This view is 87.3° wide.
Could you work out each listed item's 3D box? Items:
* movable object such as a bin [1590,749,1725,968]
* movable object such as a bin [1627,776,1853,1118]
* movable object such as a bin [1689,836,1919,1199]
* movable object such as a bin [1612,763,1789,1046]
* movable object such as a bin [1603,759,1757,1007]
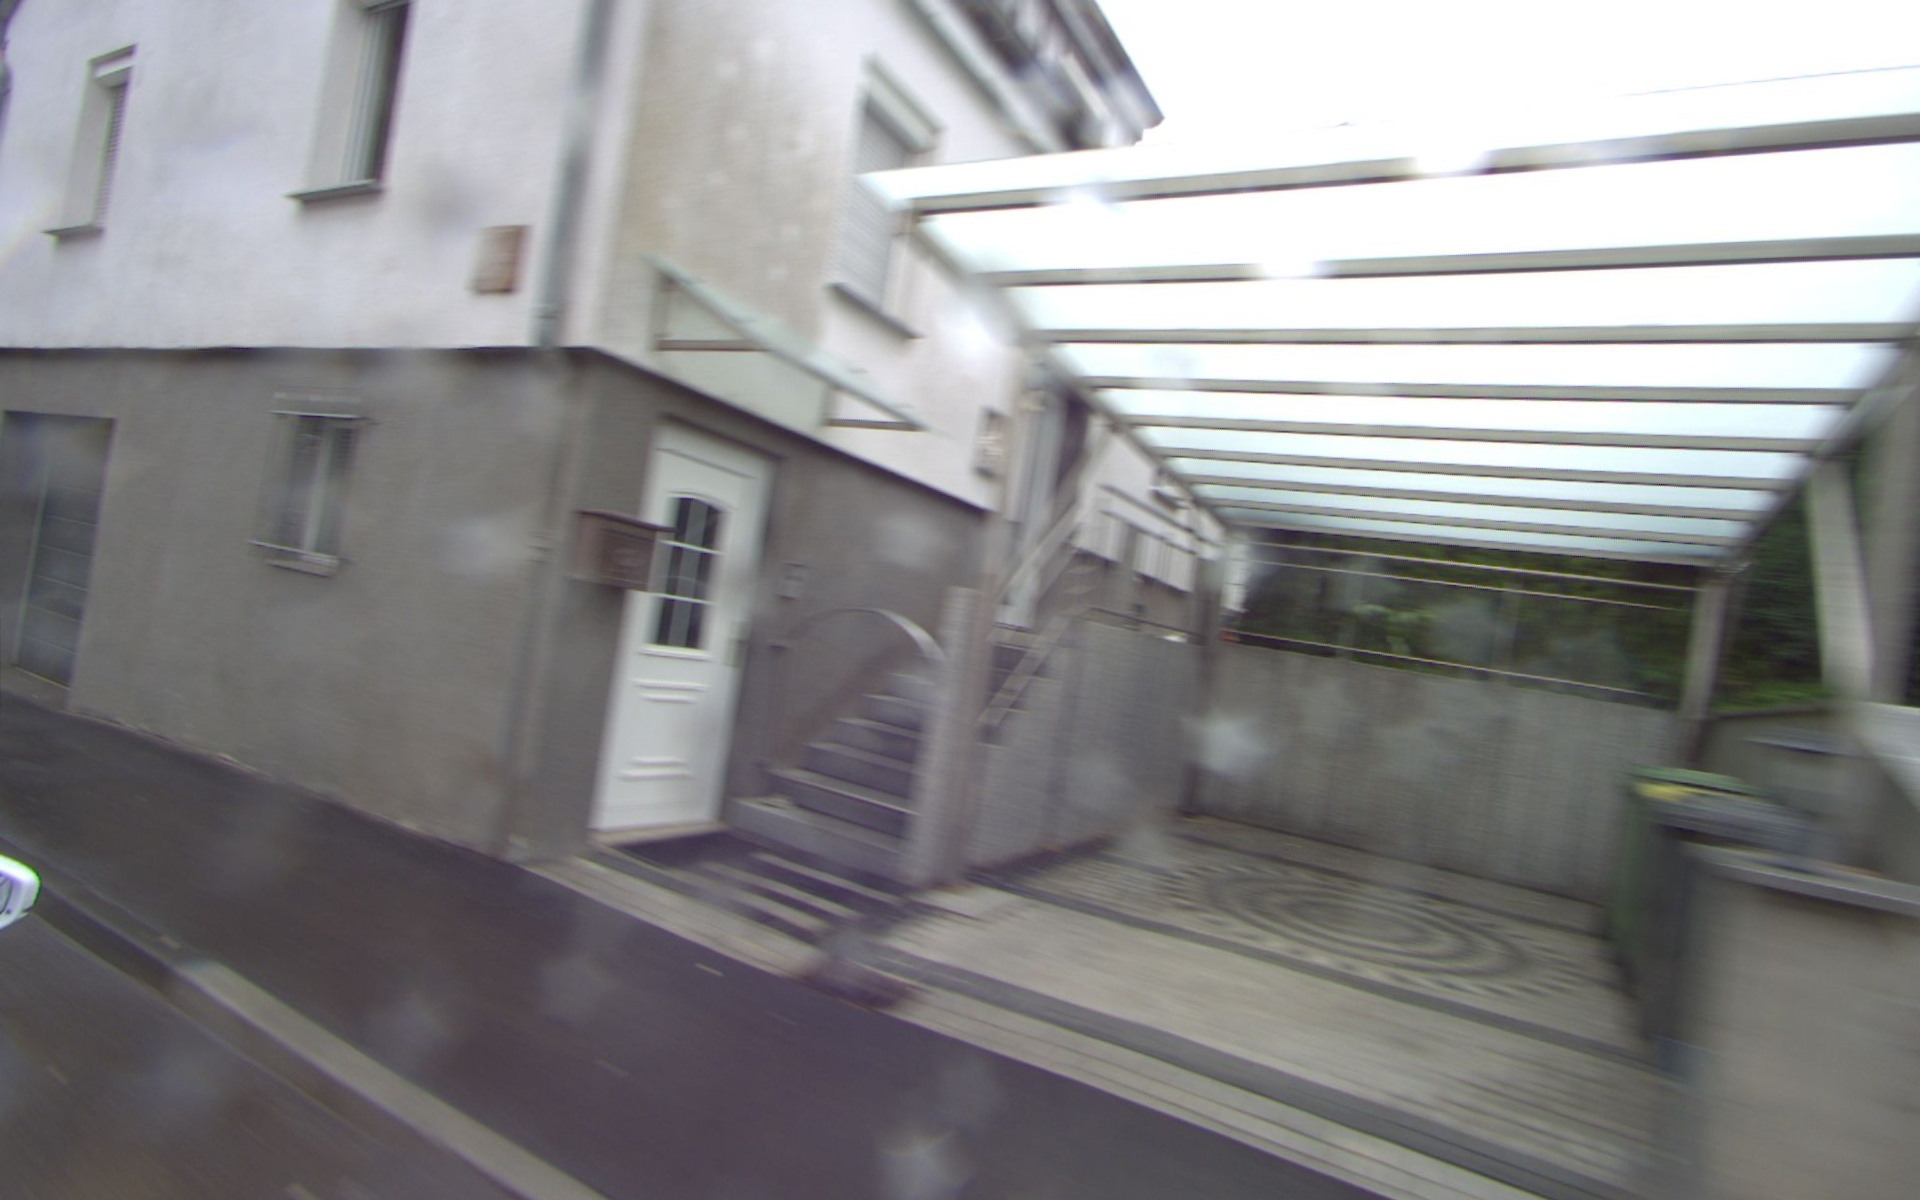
[{"bbox_3d":[3.981,1.443,5.782,0.486,1.073,0.632,7,-1,31],"label":"movable object such as a bin"},{"bbox_3d":[2.996,1.284,3.920,0.517,1.073,0.619,7,-1,31],"label":"movable object such as a bin"},{"bbox_3d":[2.673,1.278,3.178,0.468,0.915,0.494,7,-1,31],"label":"movable object such as a bin"},{"bbox_3d":[3.313,1.322,4.545,0.486,1.073,0.543,7,-1,31],"label":"movable object such as a bin"},{"bbox_3d":[3.641,1.394,5.125,0.486,1.073,0.543,7,-1,31],"label":"movable object such as a bin"}]
